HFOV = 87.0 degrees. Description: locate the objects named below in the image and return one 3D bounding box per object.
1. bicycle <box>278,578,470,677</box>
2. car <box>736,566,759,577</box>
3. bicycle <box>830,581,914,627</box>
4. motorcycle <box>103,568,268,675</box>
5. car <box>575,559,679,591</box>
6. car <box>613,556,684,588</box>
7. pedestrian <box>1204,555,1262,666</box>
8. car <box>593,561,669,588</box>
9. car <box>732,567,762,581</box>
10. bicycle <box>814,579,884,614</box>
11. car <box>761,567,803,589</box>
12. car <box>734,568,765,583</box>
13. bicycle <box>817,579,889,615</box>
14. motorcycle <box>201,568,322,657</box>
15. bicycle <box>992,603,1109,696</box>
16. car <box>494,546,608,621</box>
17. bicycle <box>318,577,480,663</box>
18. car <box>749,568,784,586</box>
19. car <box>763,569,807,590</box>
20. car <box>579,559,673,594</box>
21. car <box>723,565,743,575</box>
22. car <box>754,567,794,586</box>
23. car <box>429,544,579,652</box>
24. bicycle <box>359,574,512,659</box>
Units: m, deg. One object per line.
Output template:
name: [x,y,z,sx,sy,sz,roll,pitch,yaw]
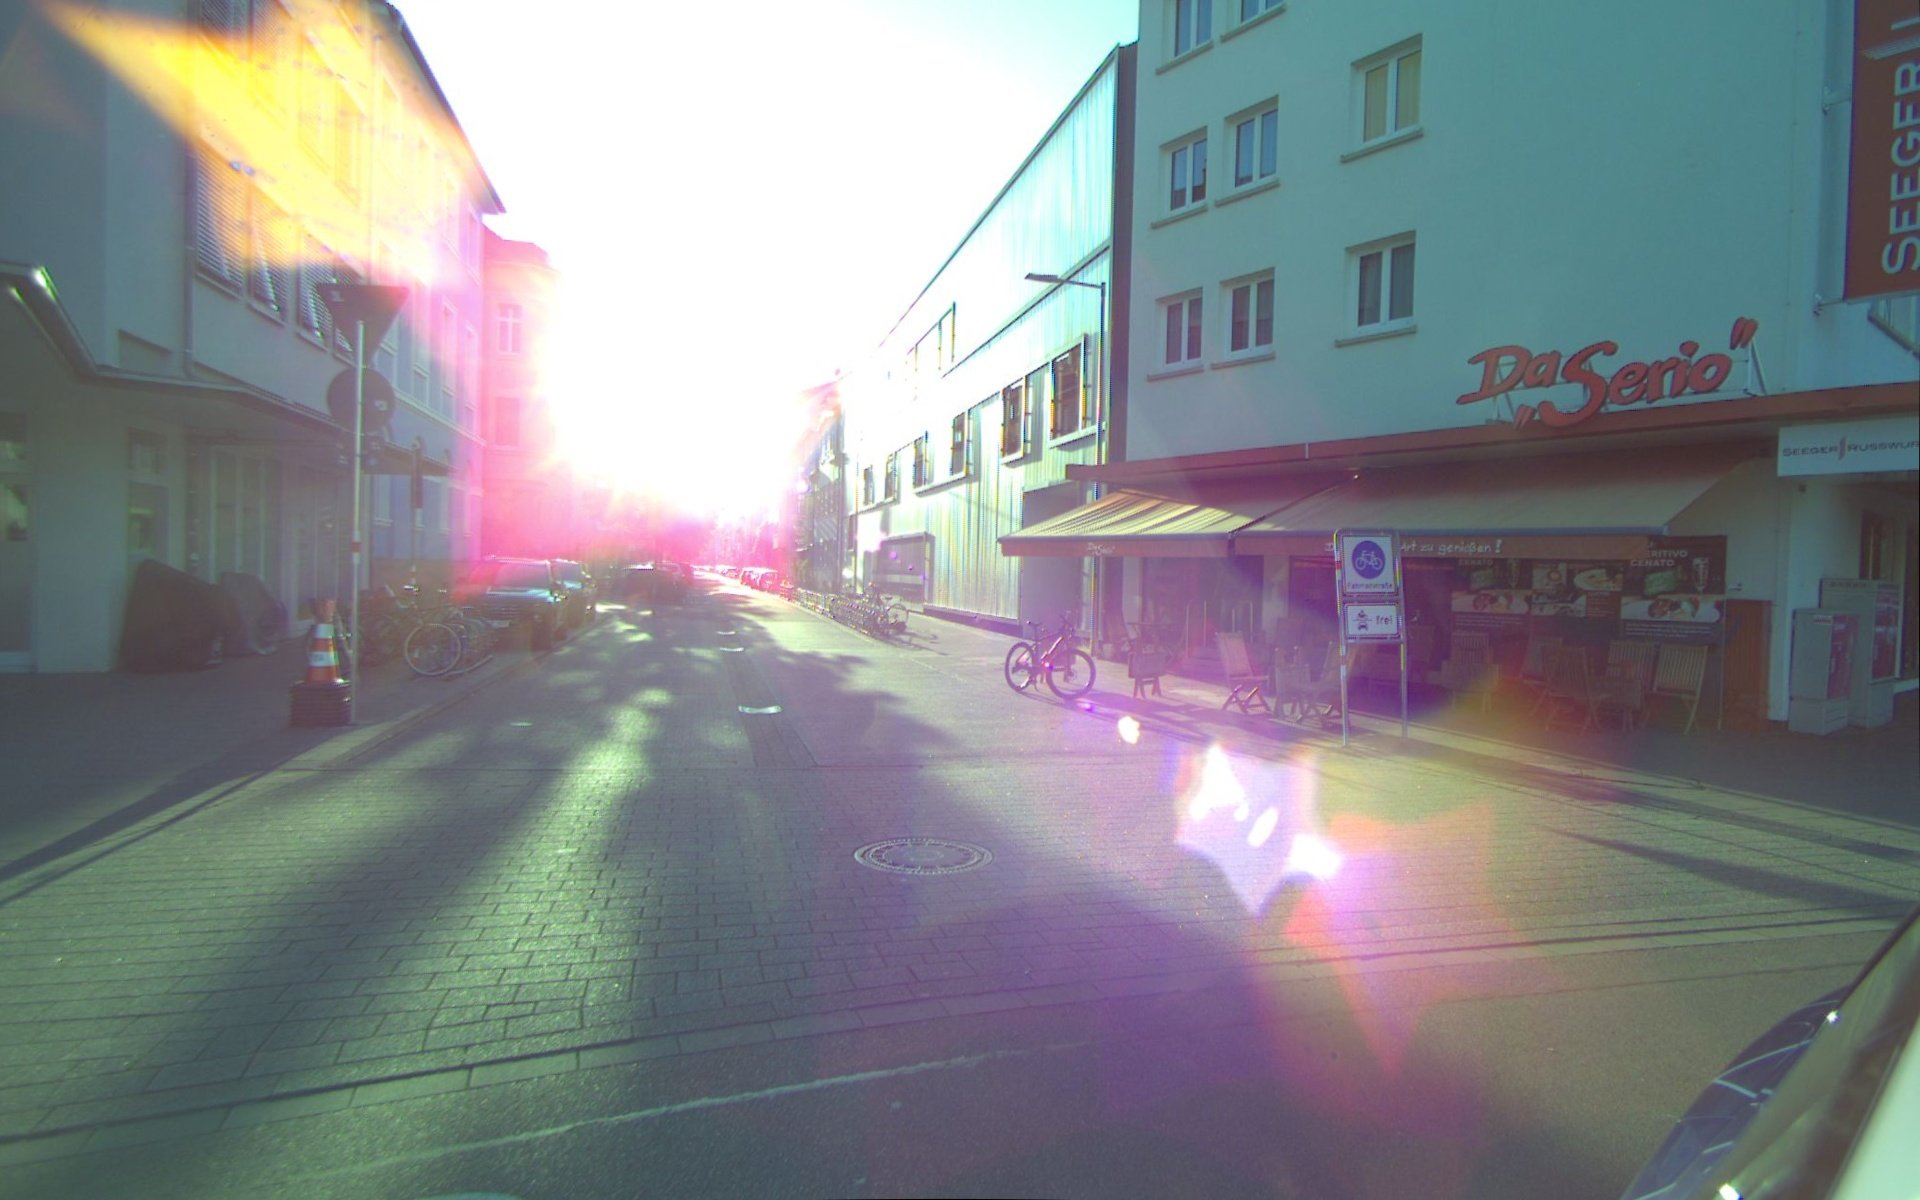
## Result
bicycle: [-7.312,0.350,12.723,1.964,1.126,0.587,3,1,-20]
car: [-25.234,-3.410,120.278,2.632,1.183,1.453,1,1,-15]
bicycle: [-2.515,0.094,28.906,2.295,1.247,0.607,-1,2,-20]
motorcycle: [-9.392,0.205,12.400,0.793,1.183,2.300,1,2,-15]
car: [-15.132,-1.136,46.140,1.989,1.362,4.098,3,2,37]
car: [-19.889,-1.754,64.759,3.932,2.001,1.863,0,0,-42]
pedestrian: [4.718,0.167,17.457,0.713,1.848,0.751,0,1,40]
car: [-19.919,-1.558,61.359,3.932,1.526,1.997,0,2,-42]
car: [-19.583,-2.348,93.159,2.632,1.262,1.406,0,0,-15]
bicycle: [-3.723,-0.109,34.003,2.294,1.154,0.530,0,0,-20]
car: [-11.564,-1.399,65.628,2.632,1.377,1.452,0,0,-12]
car: [-18.412,-2.119,88.490,2.632,1.262,1.452,0,0,-15]
bicycle: [-3.531,-0.101,33.451,2.294,1.159,0.530,0,0,-20]
motorcycle: [-10.060,0.134,14.675,0.724,1.172,2.280,1,1,-15]
bicycle: [1.238,0.655,14.245,0.526,1.173,1.911,0,1,-34]
car: [-10.581,-0.449,26.475,1.958,1.641,4.272,5,1,-12]
bicycle: [-7.694,0.260,13.972,1.879,1.127,0.630,0,0,-20]
car: [-14.468,-1.711,75.601,2.532,1.316,1.301,0,0,-14]
car: [-10.792,-1.261,62.393,2.632,1.262,1.452,0,0,-12]
car: [-16.193,-1.128,49.155,3.932,1.638,1.996,0,0,-42]
car: [-30.767,-4.015,136.964,2.552,1.262,1.181,0,0,-15]
car: [-12.988,-1.632,70.640,2.632,1.262,1.452,0,0,-12]
car: [-8.674,-0.073,19.641,1.879,1.773,4.449,3,1,-15]
bicycle: [-7.749,0.250,15.044,1.879,1.127,0.630,4,-1,-20]
